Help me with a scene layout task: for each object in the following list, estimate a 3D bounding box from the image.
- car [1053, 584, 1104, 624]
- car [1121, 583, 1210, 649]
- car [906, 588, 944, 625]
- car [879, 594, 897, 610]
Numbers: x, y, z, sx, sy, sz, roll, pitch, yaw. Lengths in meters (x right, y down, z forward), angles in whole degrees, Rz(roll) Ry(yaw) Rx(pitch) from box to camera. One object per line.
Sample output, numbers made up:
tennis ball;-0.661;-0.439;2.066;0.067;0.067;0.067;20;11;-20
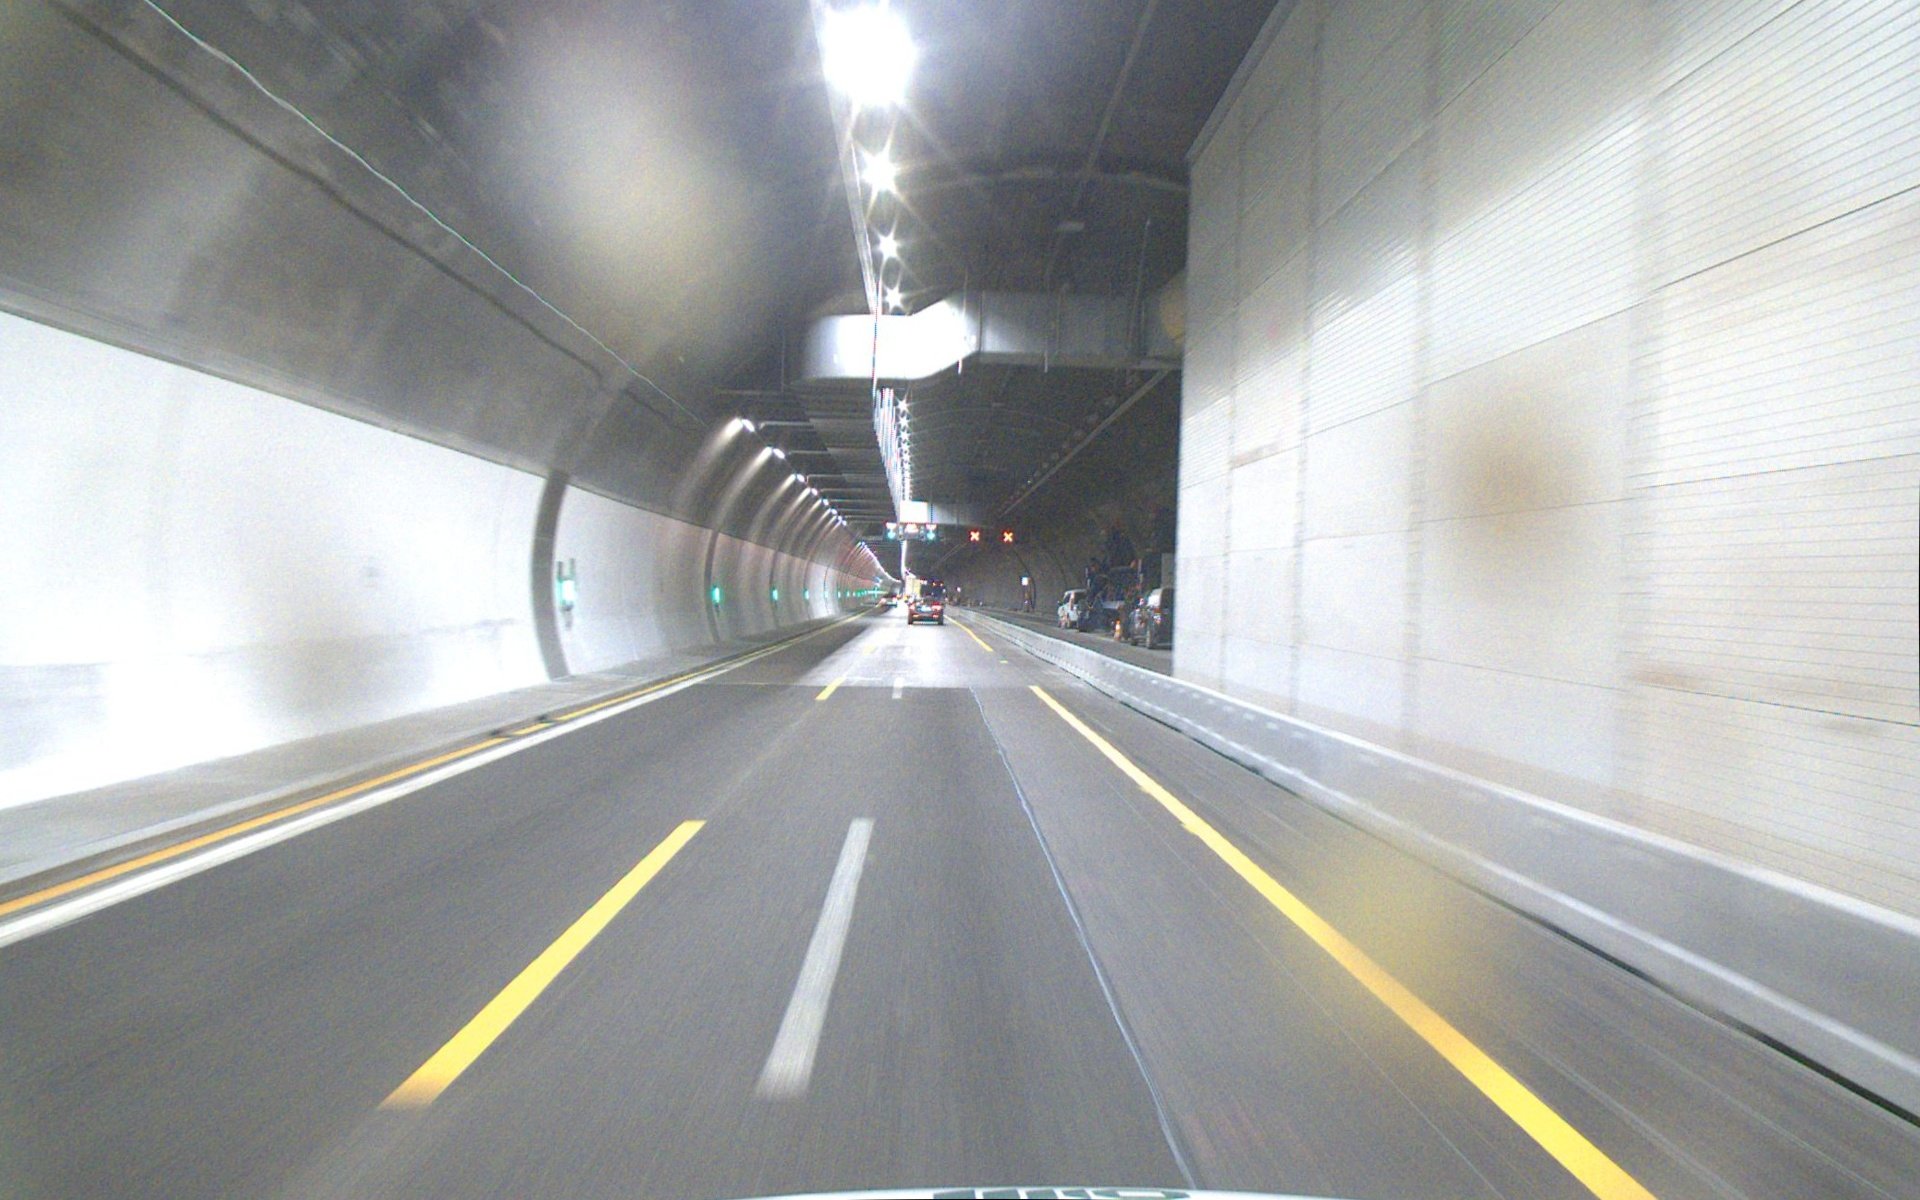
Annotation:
car;5.774;0.183;81.076;1.717;1.877;4.640;0;0;-6
car;6.297;0.464;51.186;1.791;1.891;5.439;1;0;-3
car;-1.848;0.315;85.820;1.908;1.826;3.998;0;0;-3
car;-7.891;0.214;181.768;1.891;1.716;3.998;0;0;-2
